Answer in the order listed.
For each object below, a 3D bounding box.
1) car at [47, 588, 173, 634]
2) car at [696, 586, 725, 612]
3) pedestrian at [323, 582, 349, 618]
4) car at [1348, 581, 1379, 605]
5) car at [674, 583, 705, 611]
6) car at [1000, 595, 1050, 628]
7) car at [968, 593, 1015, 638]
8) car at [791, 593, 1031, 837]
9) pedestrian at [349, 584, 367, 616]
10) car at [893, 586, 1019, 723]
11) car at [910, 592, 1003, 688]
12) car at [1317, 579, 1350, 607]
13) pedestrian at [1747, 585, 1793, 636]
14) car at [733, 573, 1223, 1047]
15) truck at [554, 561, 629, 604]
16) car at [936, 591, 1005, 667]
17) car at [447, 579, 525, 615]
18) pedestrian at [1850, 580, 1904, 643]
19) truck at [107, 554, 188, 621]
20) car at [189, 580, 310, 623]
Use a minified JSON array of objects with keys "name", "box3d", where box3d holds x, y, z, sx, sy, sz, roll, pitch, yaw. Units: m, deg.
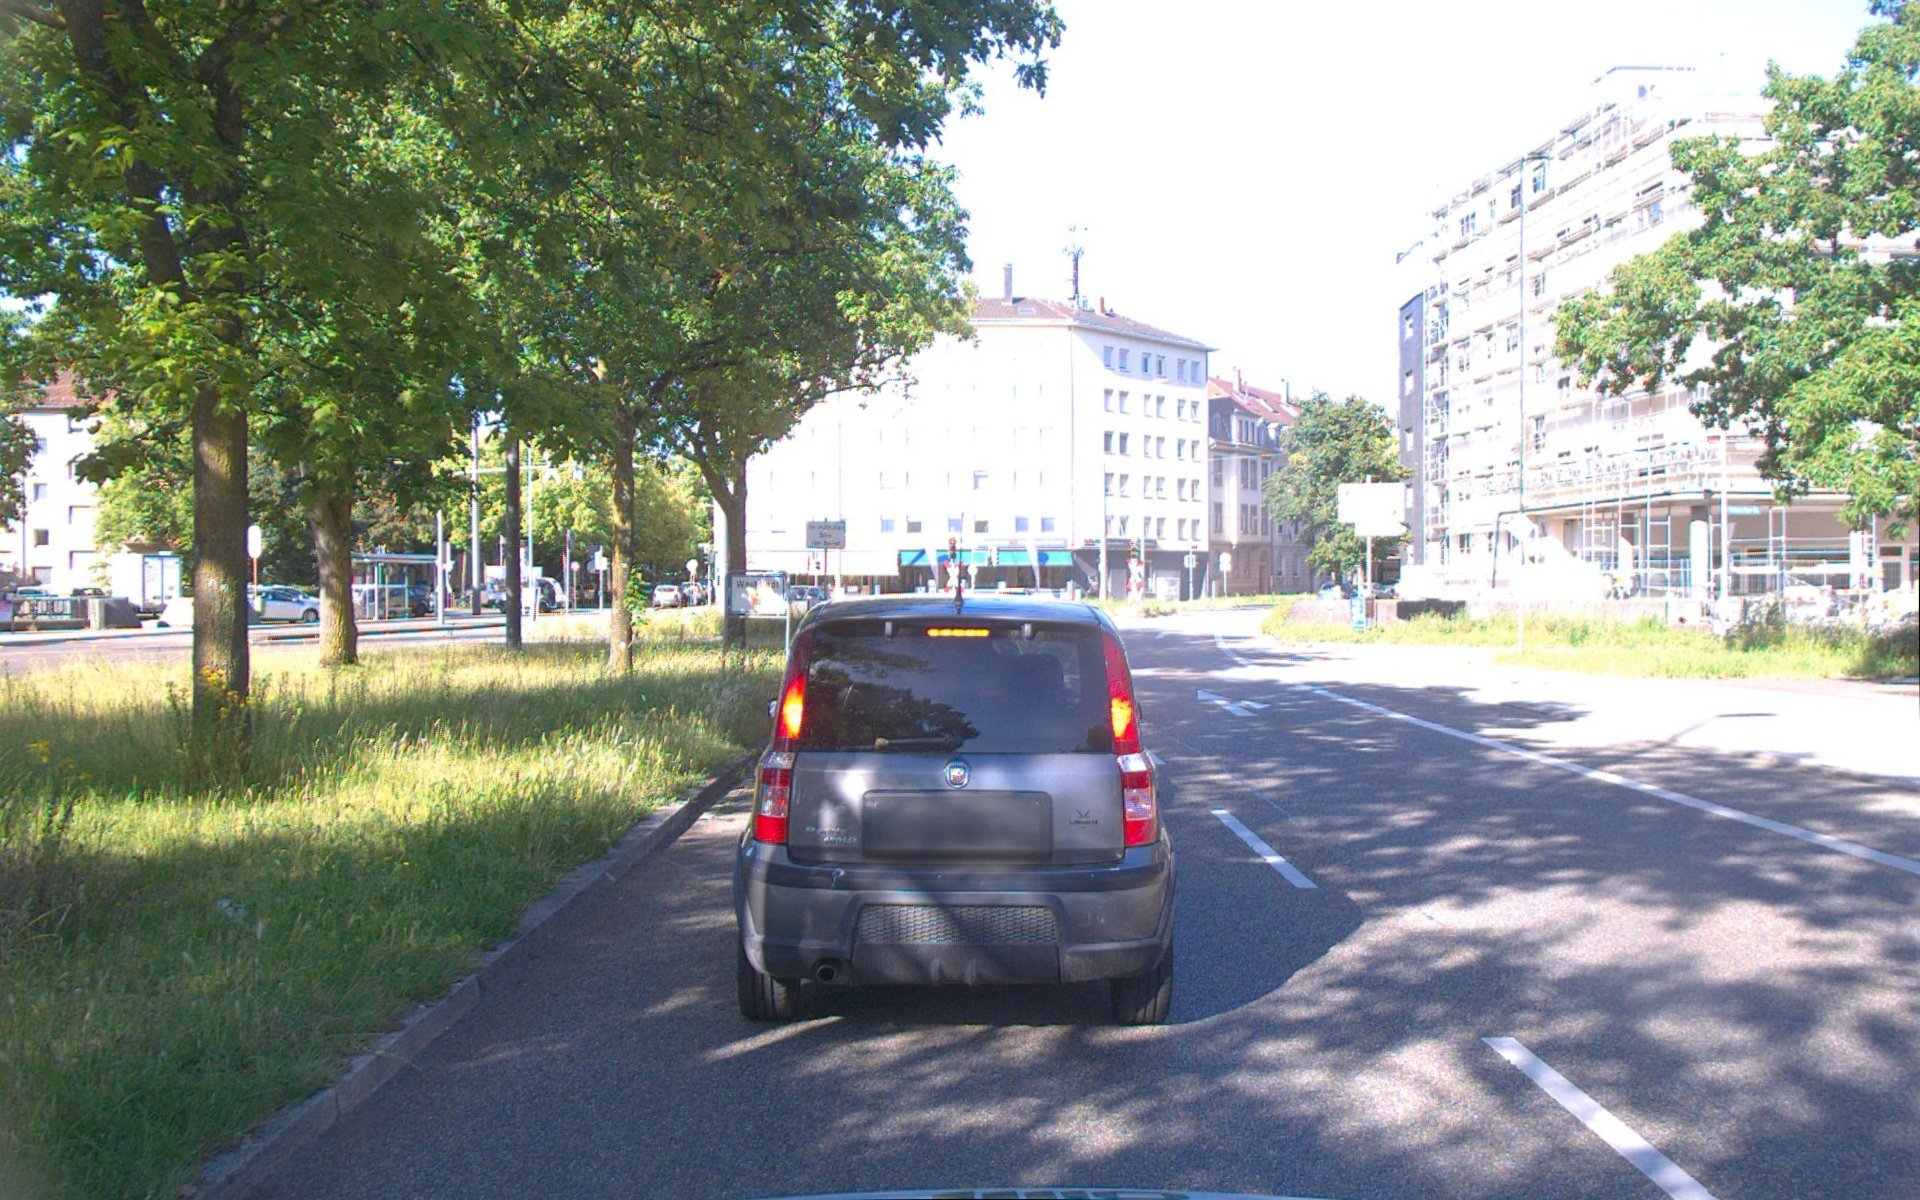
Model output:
[{"name":"car","box3d":[-33.574,0.412,65.400,1.961,1.713,3.983,0,1,38]},{"name":"car","box3d":[-20.040,-0.119,133.000,1.954,2.049,3.996,0,1,-5]},{"name":"pedestrian","box3d":[-29.186,-0.006,77.367,0.904,1.636,0.794,0,0,38]},{"name":"car","box3d":[23.010,-0.400,94.241,1.495,1.337,3.289,0,1,17]},{"name":"car","box3d":[-20.155,-0.273,123.280,1.954,2.049,3.996,0,1,-5]},{"name":"car","box3d":[2.286,0.399,57.699,1.118,1.083,2.723,0,1,17]},{"name":"car","box3d":[0.920,0.441,49.604,1.328,1.304,2.875,0,1,-1]},{"name":"car","box3d":[-0.316,0.682,11.625,1.434,1.425,3.393,0,1,-1]},{"name":"pedestrian","box3d":[-26.176,0.002,71.977,0.407,1.415,0.626,0,0,26]},{"name":"car","box3d":[-0.069,0.604,20.670,1.434,1.534,3.504,0,1,-1]},{"name":"car","box3d":[-0.078,0.608,27.276,1.434,1.449,3.381,0,1,-1]},{"name":"car","box3d":[20.505,-0.397,90.710,1.646,1.475,3.574,0,1,15]},{"name":"pedestrian","box3d":[23.562,0.299,48.114,0.887,1.472,0.952,-1,1,-40]},{"name":"car","box3d":[0.034,0.661,7.409,1.595,1.534,3.999,0,1,-1]},{"name":"truck","box3d":[-28.360,-1.362,127.364,5.371,3.224,2.341,0,0,28]},{"name":"car","box3d":[0.180,0.555,33.858,1.328,1.475,3.265,0,0,-1]},{"name":"car","box3d":[-27.922,-0.186,97.558,4.093,2.049,1.930,0,0,-3]},{"name":"pedestrian","box3d":[24.871,0.304,44.866,0.879,1.682,0.977,-1,0,-30]},{"name":"truck","box3d":[-35.743,-0.556,72.685,3.932,2.854,1.987,0,1,44]},{"name":"car","box3d":[-29.954,0.046,69.779,1.961,1.713,4.302,0,1,38]}]
